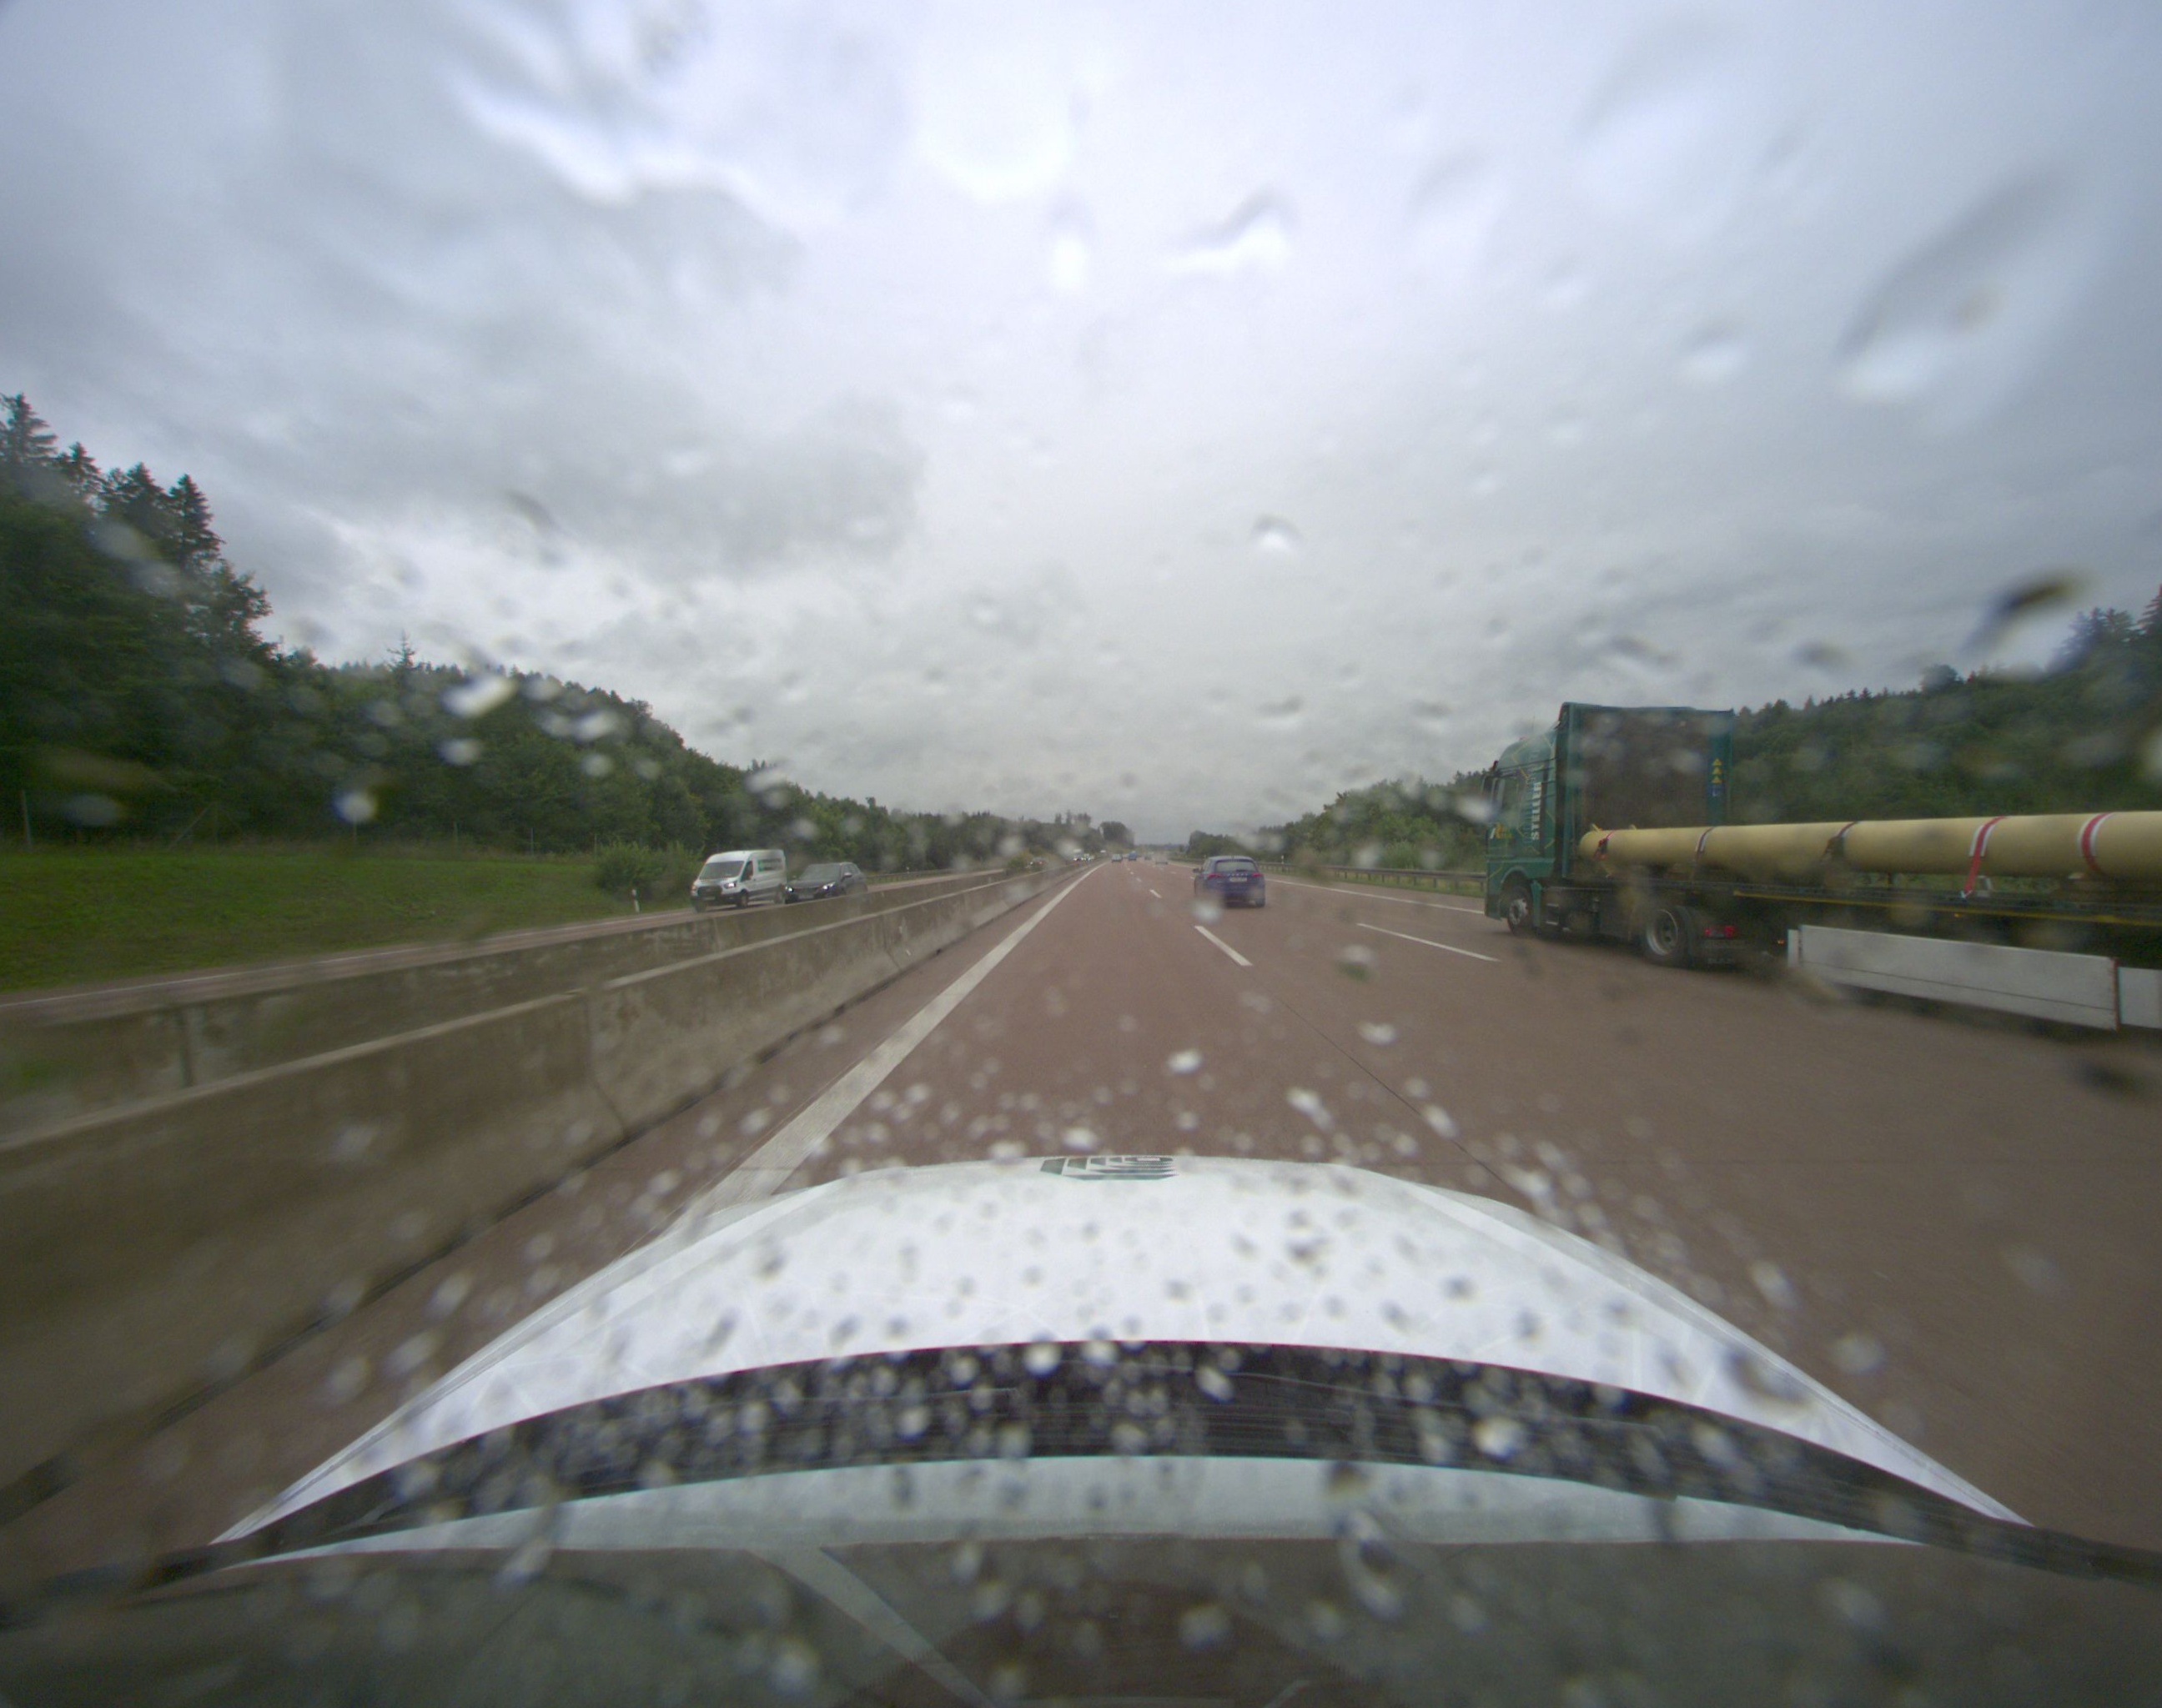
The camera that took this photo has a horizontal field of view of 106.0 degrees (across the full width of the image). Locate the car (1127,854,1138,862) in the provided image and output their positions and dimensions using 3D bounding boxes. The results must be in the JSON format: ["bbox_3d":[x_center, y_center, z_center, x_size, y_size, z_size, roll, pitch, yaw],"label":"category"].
[{"bbox_3d":[12.301,0.957,194.958,2.314,1.750,4.877,0,-1,1],"label":"car"}]

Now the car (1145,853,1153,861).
[{"bbox_3d":[17.615,0.860,211.378,1.986,2.014,4.000,0,-1,1],"label":"car"}]

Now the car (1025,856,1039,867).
[{"bbox_3d":[-7.809,1.230,130.334,1.709,1.582,4.317,-2,-1,2],"label":"car"}]

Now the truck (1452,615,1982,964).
[{"bbox_3d":[8.815,-0.674,12.769,2.887,3.965,6.989,0,-1,1],"label":"truck"}]

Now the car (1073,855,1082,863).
[{"bbox_3d":[-0.791,1.095,179.023,1.857,1.551,4.810,0,0,3],"label":"car"}]

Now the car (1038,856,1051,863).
[{"bbox_3d":[-8.138,1.256,182.333,1.984,1.560,5.753,0,-1,6],"label":"car"}]

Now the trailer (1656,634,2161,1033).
[{"bbox_3d":[8.673,-0.161,4.693,2.871,2.676,11.400,0,-1,1],"label":"trailer"}]

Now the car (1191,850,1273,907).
[{"bbox_3d":[4.428,0.710,24.445,1.765,1.564,4.147,0,-1,1],"label":"car"}]

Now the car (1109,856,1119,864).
[{"bbox_3d":[6.537,1.167,161.854,1.867,1.444,4.878,0,-1,2],"label":"car"}]

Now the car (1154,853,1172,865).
[{"bbox_3d":[12.542,0.724,124.837,2.314,1.750,4.877,0,-1,1],"label":"car"}]

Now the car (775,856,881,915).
[{"bbox_3d":[-8.678,1.006,28.387,1.986,1.827,4.689,-2,0,2],"label":"car"}]

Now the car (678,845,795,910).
[{"bbox_3d":[-14.826,1.016,35.569,2.215,2.585,6.258,0,-1,3],"label":"car"}]
